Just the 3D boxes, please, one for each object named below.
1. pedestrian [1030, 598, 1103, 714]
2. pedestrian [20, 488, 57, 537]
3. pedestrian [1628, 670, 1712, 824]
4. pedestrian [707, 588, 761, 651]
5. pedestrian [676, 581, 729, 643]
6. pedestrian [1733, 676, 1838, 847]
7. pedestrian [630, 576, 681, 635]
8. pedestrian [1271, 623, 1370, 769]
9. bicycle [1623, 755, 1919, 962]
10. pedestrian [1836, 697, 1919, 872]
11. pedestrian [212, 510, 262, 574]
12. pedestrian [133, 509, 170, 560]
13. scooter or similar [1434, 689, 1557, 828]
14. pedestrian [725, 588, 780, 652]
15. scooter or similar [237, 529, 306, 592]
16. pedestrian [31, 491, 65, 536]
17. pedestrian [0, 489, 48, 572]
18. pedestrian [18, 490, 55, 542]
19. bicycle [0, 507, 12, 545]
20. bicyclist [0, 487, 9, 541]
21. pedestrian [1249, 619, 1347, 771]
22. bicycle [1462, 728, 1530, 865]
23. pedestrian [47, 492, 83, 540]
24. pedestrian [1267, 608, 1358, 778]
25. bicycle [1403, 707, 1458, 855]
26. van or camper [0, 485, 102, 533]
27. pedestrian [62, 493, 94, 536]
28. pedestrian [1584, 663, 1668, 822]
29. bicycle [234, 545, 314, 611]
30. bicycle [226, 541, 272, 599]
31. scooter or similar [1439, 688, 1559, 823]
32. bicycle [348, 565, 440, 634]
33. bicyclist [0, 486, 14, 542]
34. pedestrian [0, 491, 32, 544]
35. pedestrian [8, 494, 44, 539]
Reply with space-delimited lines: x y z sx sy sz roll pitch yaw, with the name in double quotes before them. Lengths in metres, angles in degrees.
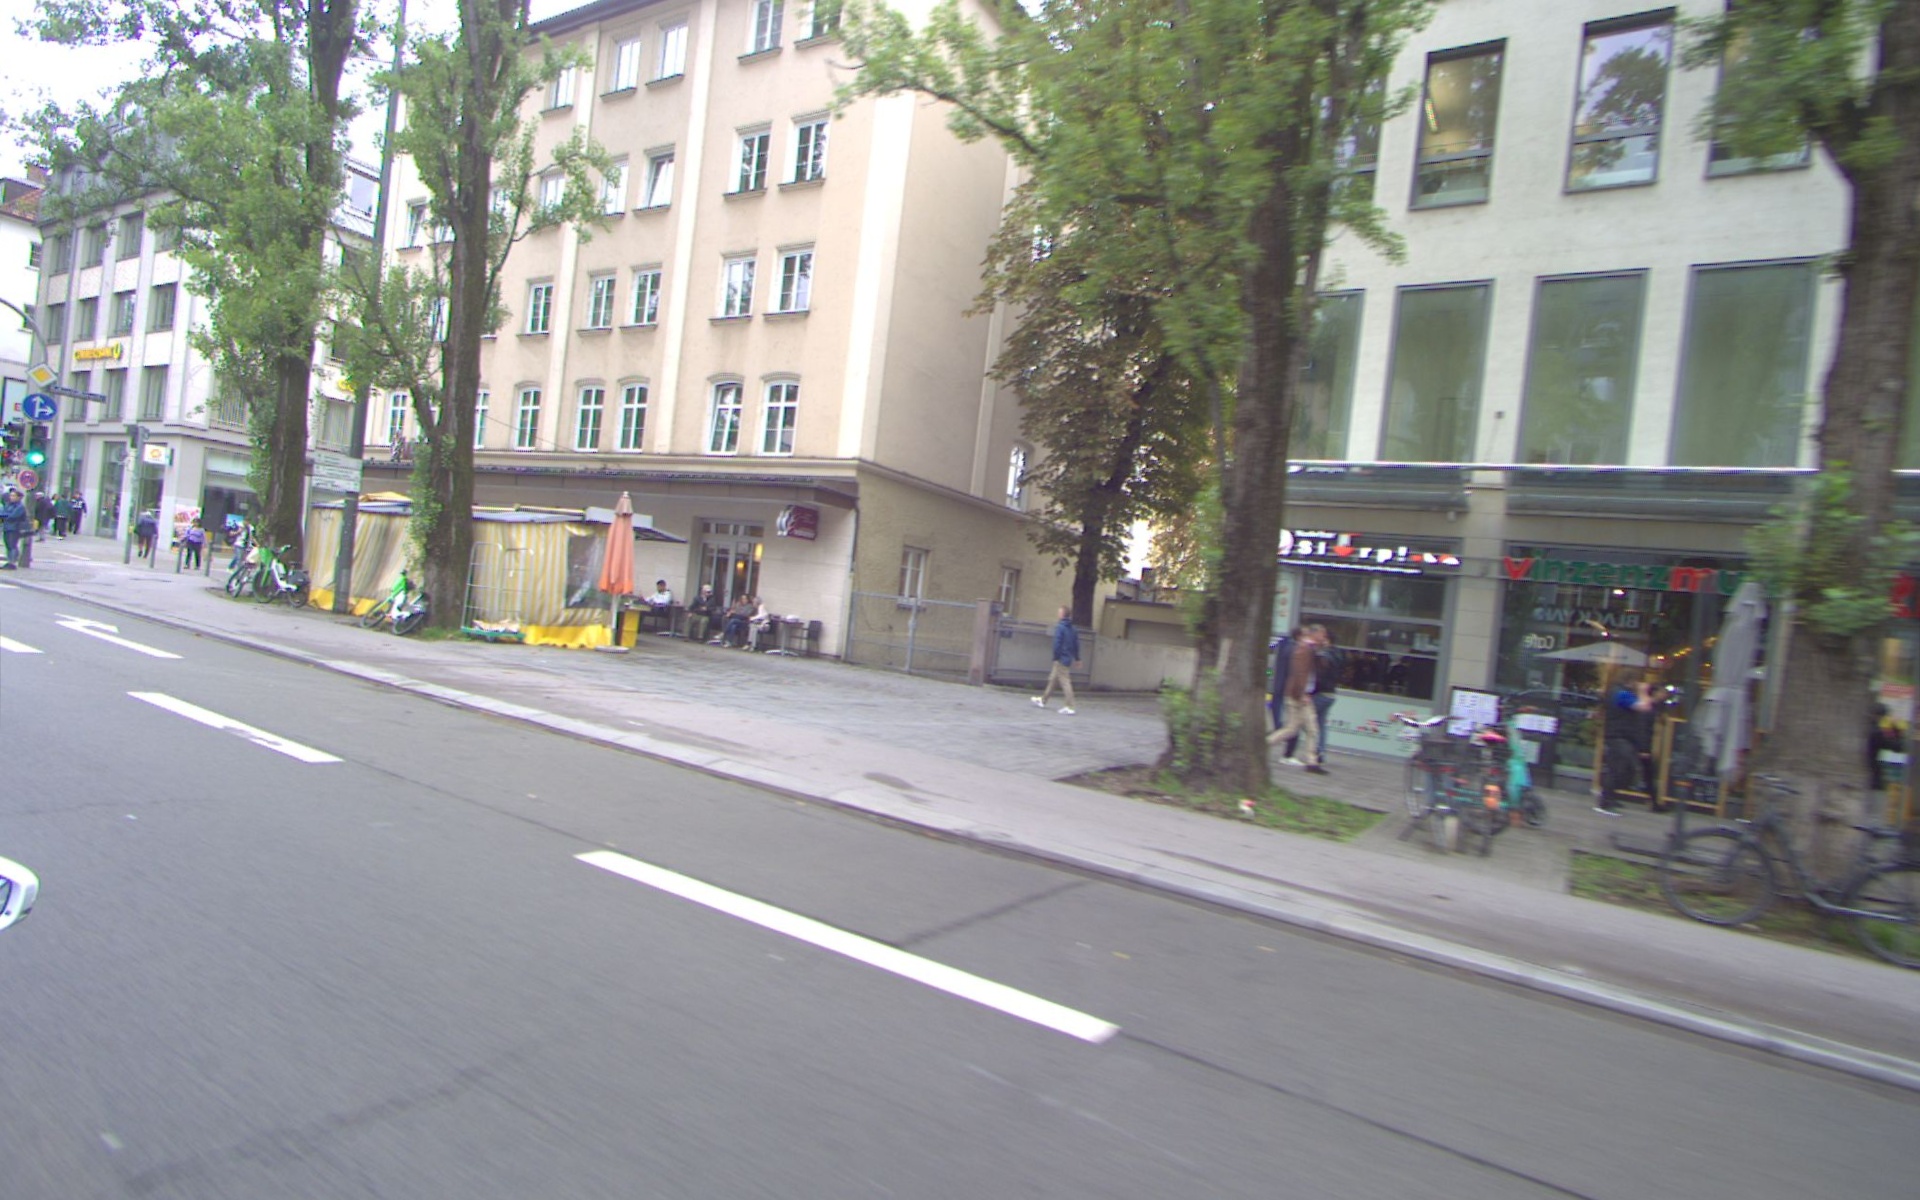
"pedestrian" 1.782 0.941 16.835 0.744 1.836 0.743 7 0 35
"pedestrian" -36.038 -3.413 39.343 0.845 1.779 0.750 5 -1 33
"pedestrian" 8.921 1.827 12.672 0.663 1.807 0.565 7 1 33
"pedestrian" -4.990 0.427 22.181 0.688 1.280 0.776 7 0 32
"pedestrian" -5.810 0.278 22.676 0.688 1.280 0.776 7 0 32
"pedestrian" 9.602 1.852 11.730 0.680 1.842 0.622 7 1 31
"pedestrian" -7.184 0.141 23.749 0.688 1.280 0.776 7 0 32
"pedestrian" 4.971 1.301 13.941 0.962 1.837 0.813 7 0 11
"bicycle" 5.922 1.803 7.055 1.968 1.074 0.434 7 1 22
"pedestrian" 10.029 1.958 10.730 0.679 1.731 0.658 7 1 20
"pedestrian" -21.034 -1.681 29.276 0.845 1.723 0.666 5 0 -7
"pedestrian" -27.907 -2.265 34.711 0.722 1.657 0.750 5 1 34
"scooter or similar" 5.704 1.665 10.737 1.019 1.289 0.247 7 1 32
"pedestrian" -4.483 0.436 21.727 0.688 1.280 0.776 7 0 32
"scooter or similar" -15.558 -0.884 22.734 1.345 1.259 0.408 7 0 16
"pedestrian" -39.322 -3.730 43.385 1.000 1.779 0.750 7 0 34
"pedestrian" -19.880 -1.467 21.096 0.849 1.630 0.767 7 1 28
"pedestrian" -33.868 -3.065 36.892 0.740 1.779 0.709 7 1 33
"bicycle" -29.236 -2.292 30.127 2.226 1.100 0.627 7 0 32
"bicyclist" -28.823 -2.593 29.886 0.473 1.608 0.622 7 1 31
"pedestrian" 4.506 1.248 13.409 0.891 1.874 0.657 7 1 34
"bicycle" 4.813 1.709 9.093 0.281 0.956 2.004 7 -1 24
"pedestrian" -35.562 -3.326 39.979 0.845 1.779 0.750 5 -1 33
"pedestrian" 4.417 1.148 12.606 0.711 1.996 0.656 8 1 35
"bicycle" 4.239 1.575 9.127 0.281 1.096 2.004 7 0 24
"van or camper" -50.143 -4.974 55.247 1.869 1.888 4.108 6 -2 36
"pedestrian" -38.805 -3.758 44.273 0.699 1.779 0.750 7 0 33
"pedestrian" 8.153 1.718 12.337 0.663 1.807 0.657 7 1 33
"bicycle" -13.163 -0.431 19.290 1.740 1.061 0.509 7 0 31
"bicycle" -14.715 -0.642 20.814 0.404 1.081 1.790 13 -5 -41
"scooter or similar" 5.933 1.690 11.097 1.019 1.289 0.330 7 0 32
"bicycle" -9.761 -0.019 17.325 1.740 0.987 0.509 7 0 31
"bicyclist" -28.421 -2.550 29.642 0.385 1.608 0.622 7 1 31
"pedestrian" -35.611 -3.108 37.737 0.875 1.840 0.819 7 0 31
"pedestrian" -38.162 -3.421 41.105 0.947 1.698 0.750 7 1 33
